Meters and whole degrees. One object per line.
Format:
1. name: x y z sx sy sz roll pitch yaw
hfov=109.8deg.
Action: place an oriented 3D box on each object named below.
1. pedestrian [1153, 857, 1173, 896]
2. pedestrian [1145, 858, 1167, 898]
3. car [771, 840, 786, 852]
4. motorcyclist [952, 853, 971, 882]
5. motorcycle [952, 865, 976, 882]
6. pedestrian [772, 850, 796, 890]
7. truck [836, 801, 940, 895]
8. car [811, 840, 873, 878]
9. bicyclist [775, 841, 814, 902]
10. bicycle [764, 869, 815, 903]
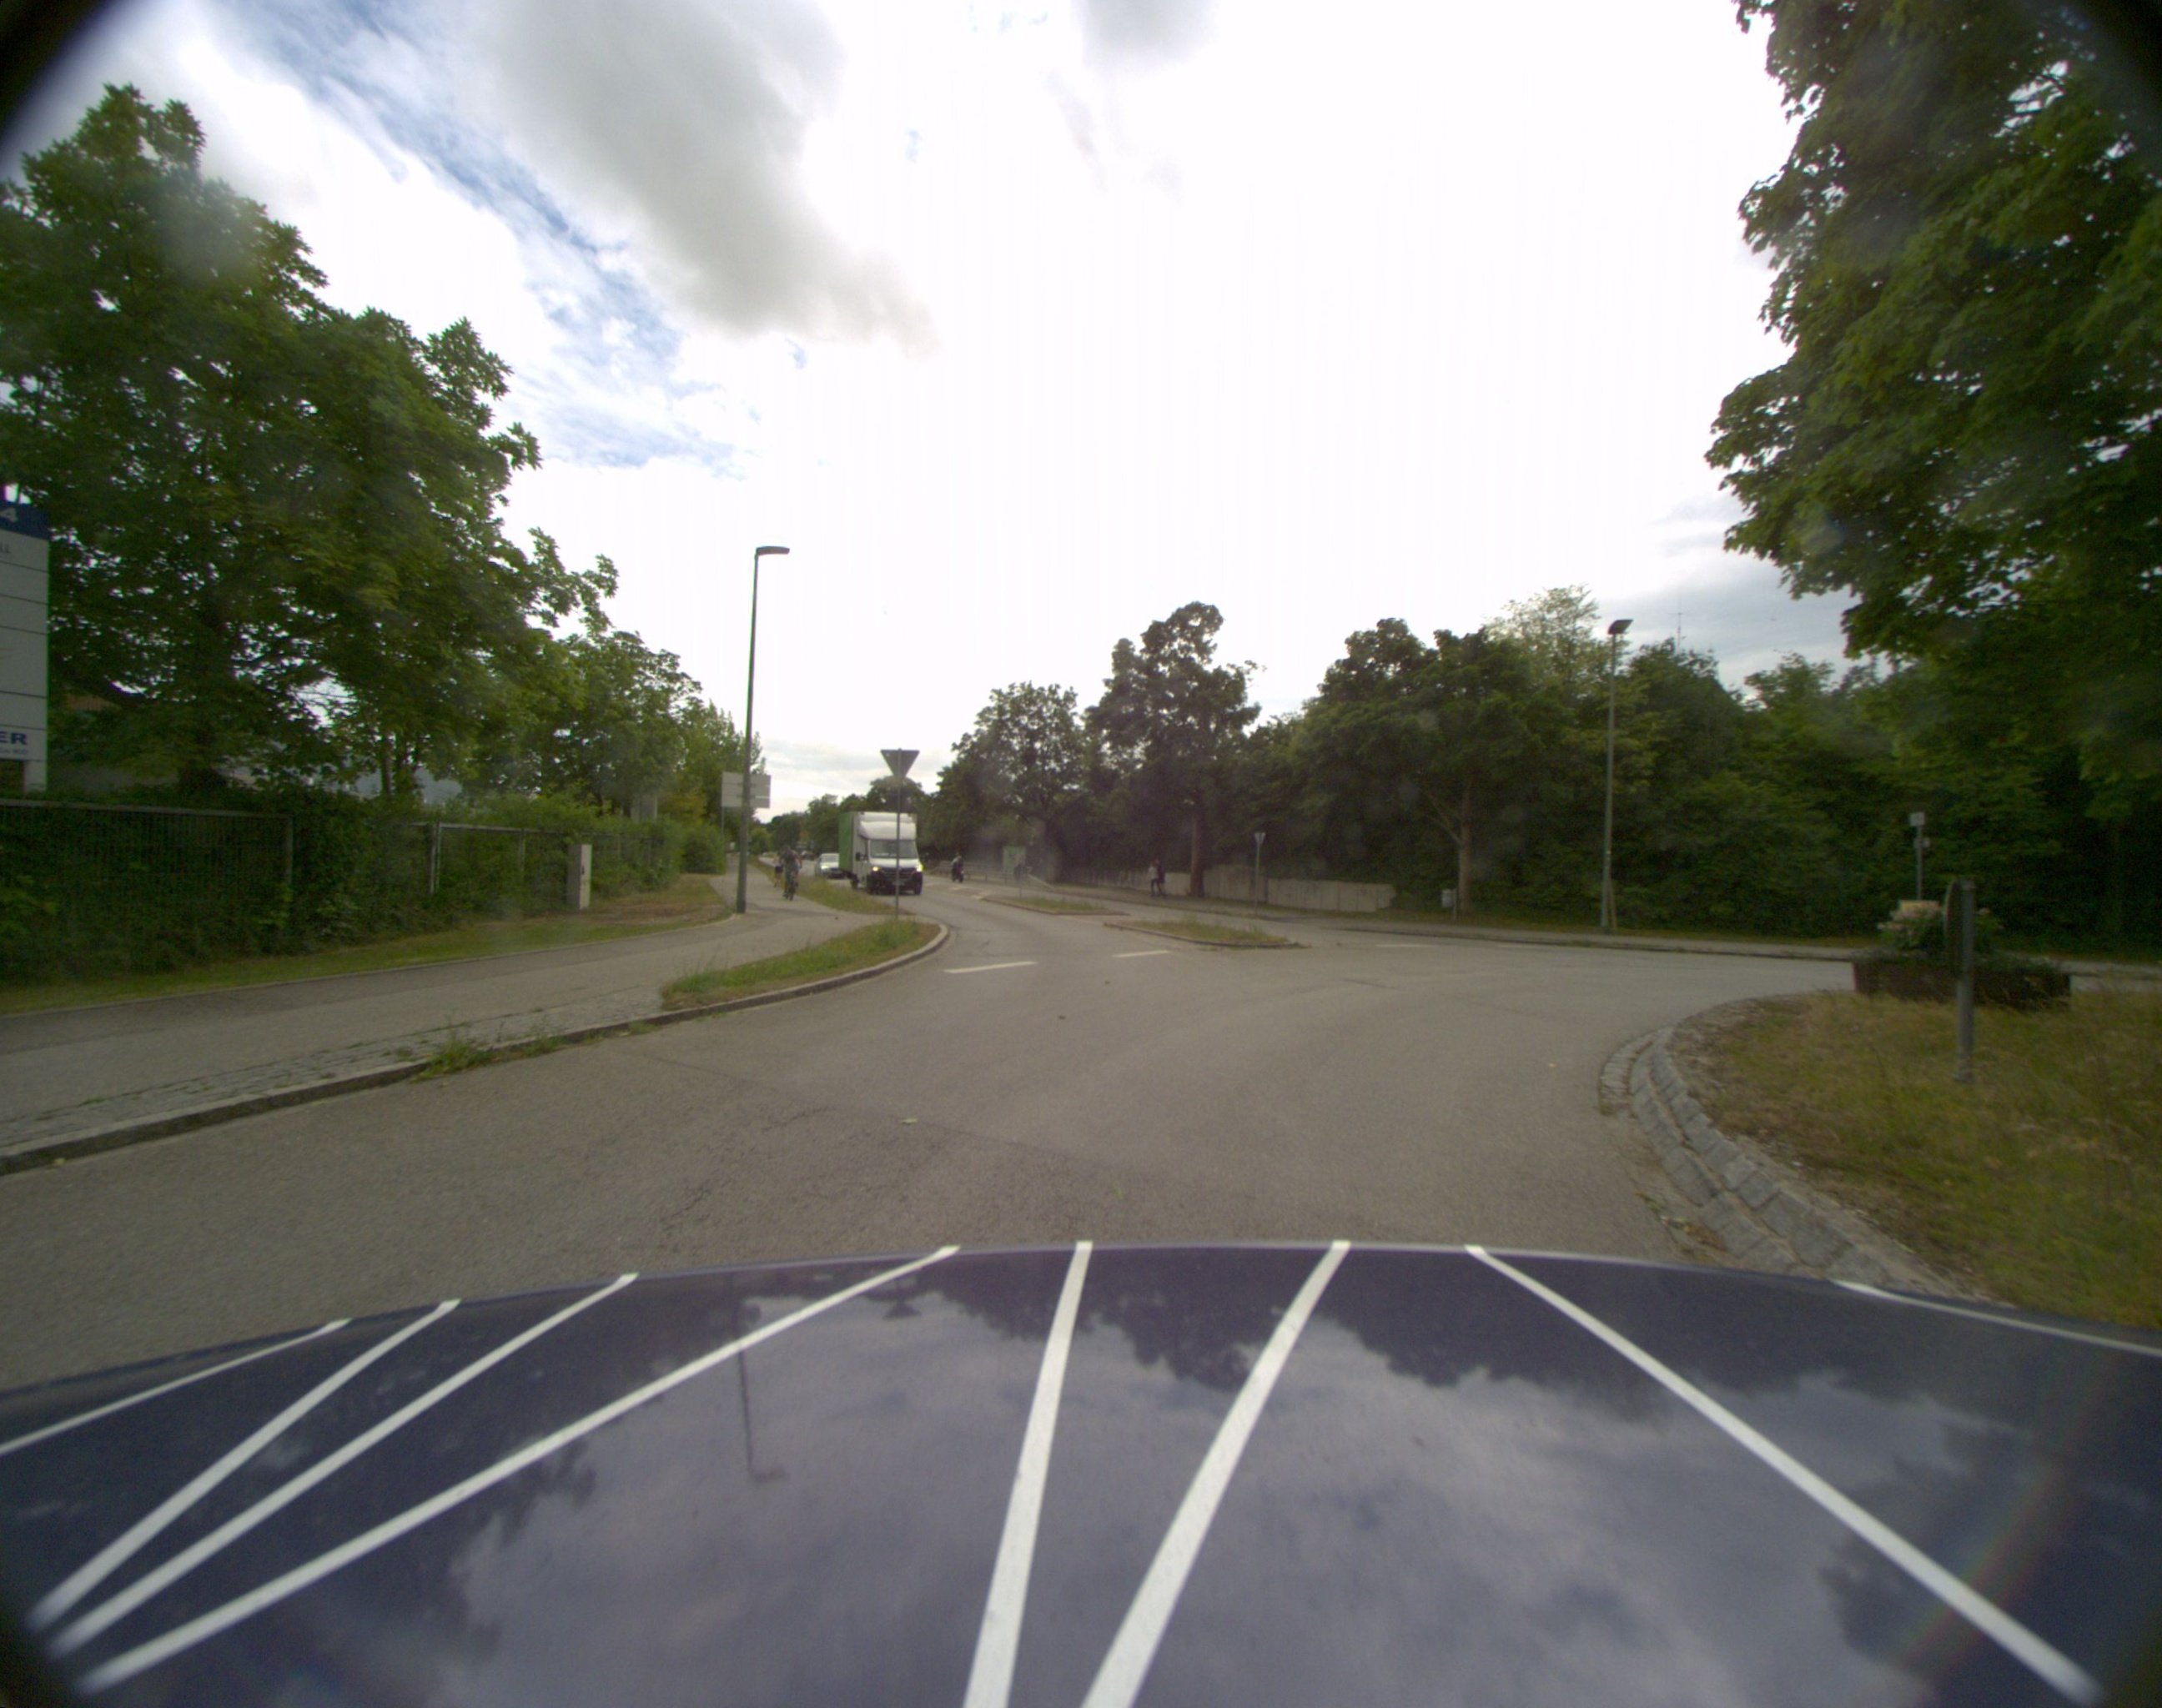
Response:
1. pedestrian: 3.793 1.045 35.203 0.636 1.798 0.613 1 0 -31
2. pedestrian: 3.375 1.064 34.129 0.733 1.770 0.593 1 0 -31
3. car: -55.547 -1.394 139.356 2.041 2.113 5.710 1 0 -26
4. motorcyclist: -7.227 0.793 45.929 0.846 1.691 0.821 2 0 -27
5. motorcycle: -7.066 1.159 45.663 0.941 0.925 1.609 2 0 -27
6. pedestrian: -11.554 0.621 29.589 0.546 1.521 0.842 2 -1 -42
7. truck: -8.215 -0.241 31.562 2.620 3.427 7.489 1 0 -26
8. car: -14.254 0.249 45.080 2.620 2.113 5.710 1 0 -26
9. bicyclist: -8.774 0.537 23.295 0.814 1.777 0.976 5 -2 -32
10. bicycle: -9.056 0.979 23.533 0.968 0.870 2.489 5 -2 -32
